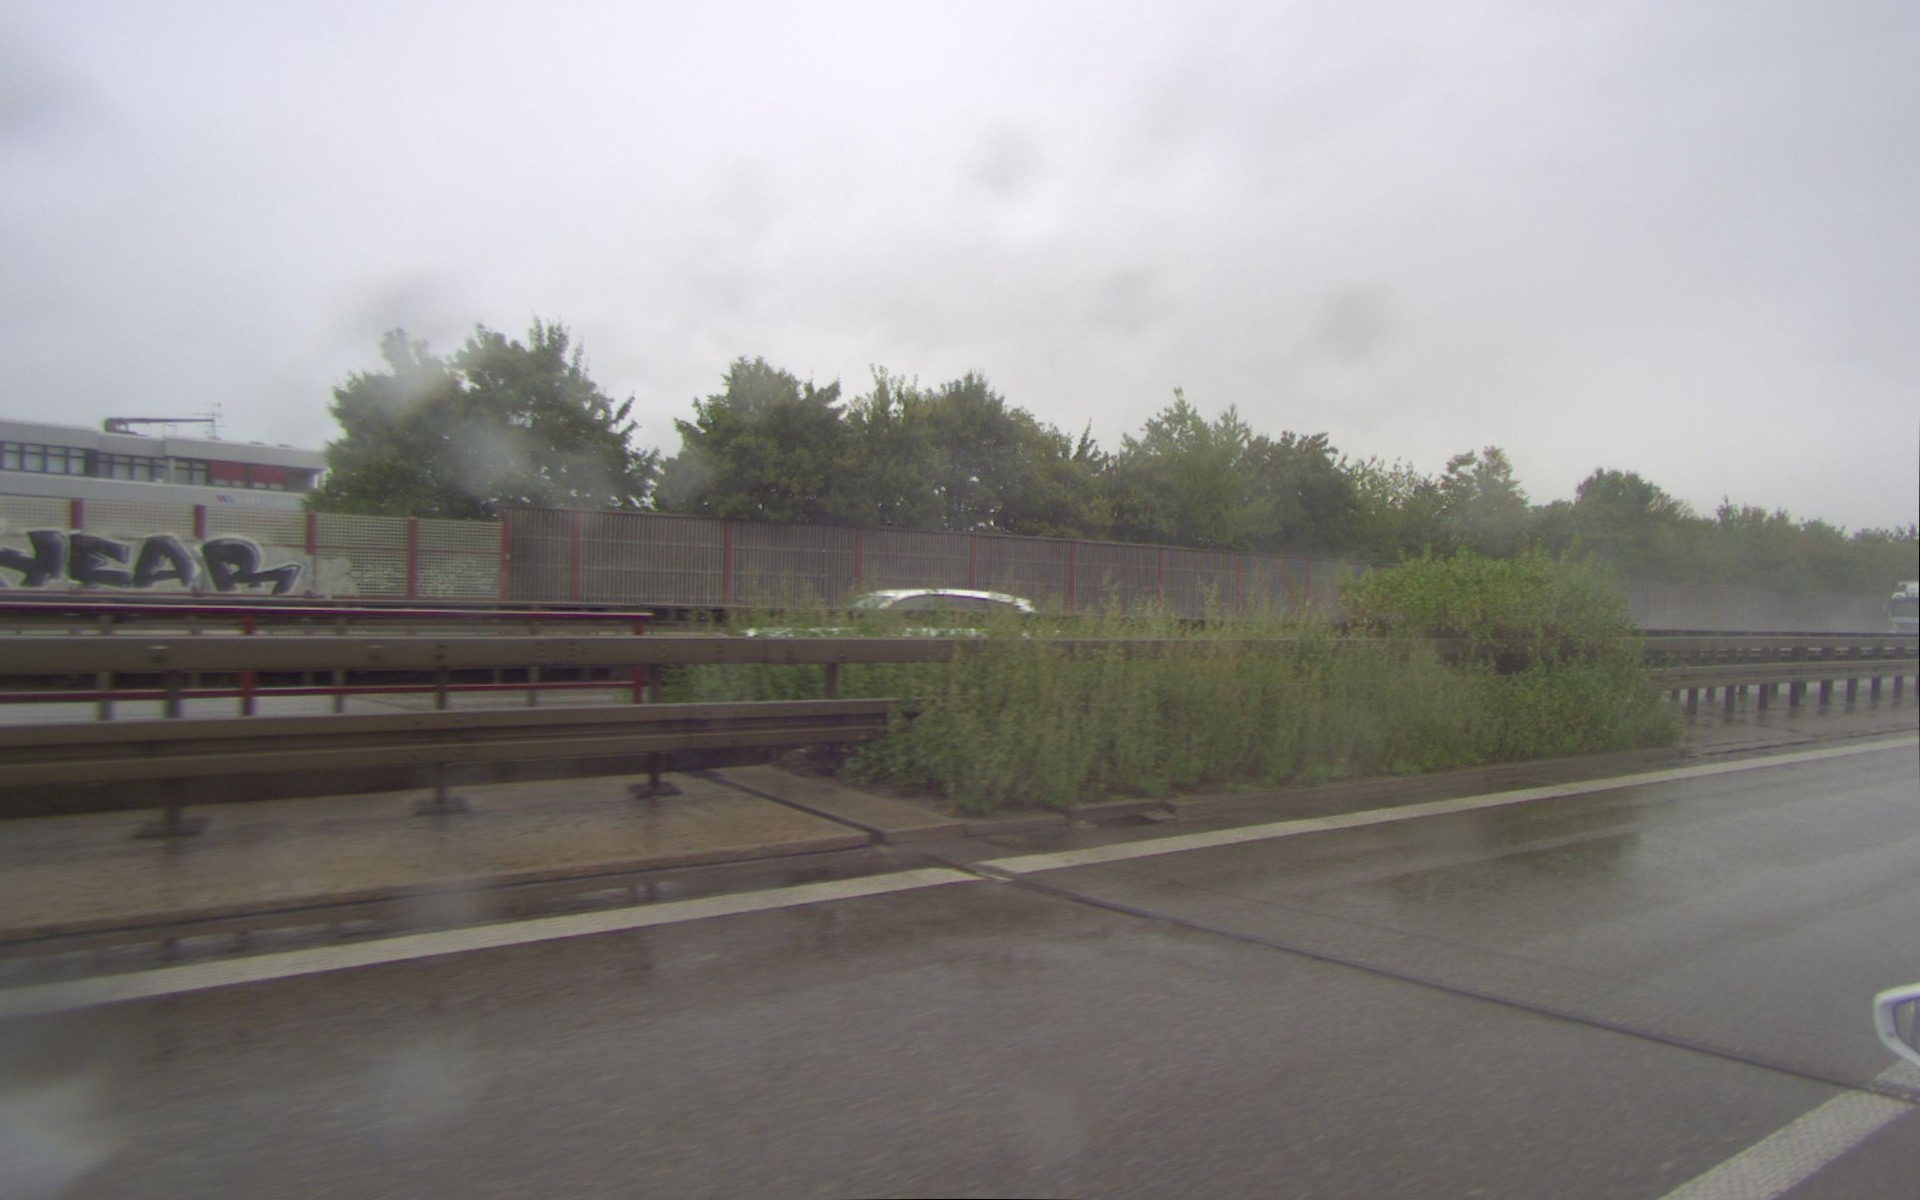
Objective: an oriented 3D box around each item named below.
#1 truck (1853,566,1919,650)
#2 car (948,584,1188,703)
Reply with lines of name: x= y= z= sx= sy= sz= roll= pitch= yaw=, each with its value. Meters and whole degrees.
truck: x=57.191 y=0.511 z=59.661 sx=9.389 sy=4.701 sz=3.814 roll=1 pitch=0 yaw=-33
car: x=1.611 y=0.596 z=14.810 sx=3.193 sy=1.571 sz=1.588 roll=1 pitch=0 yaw=-30
